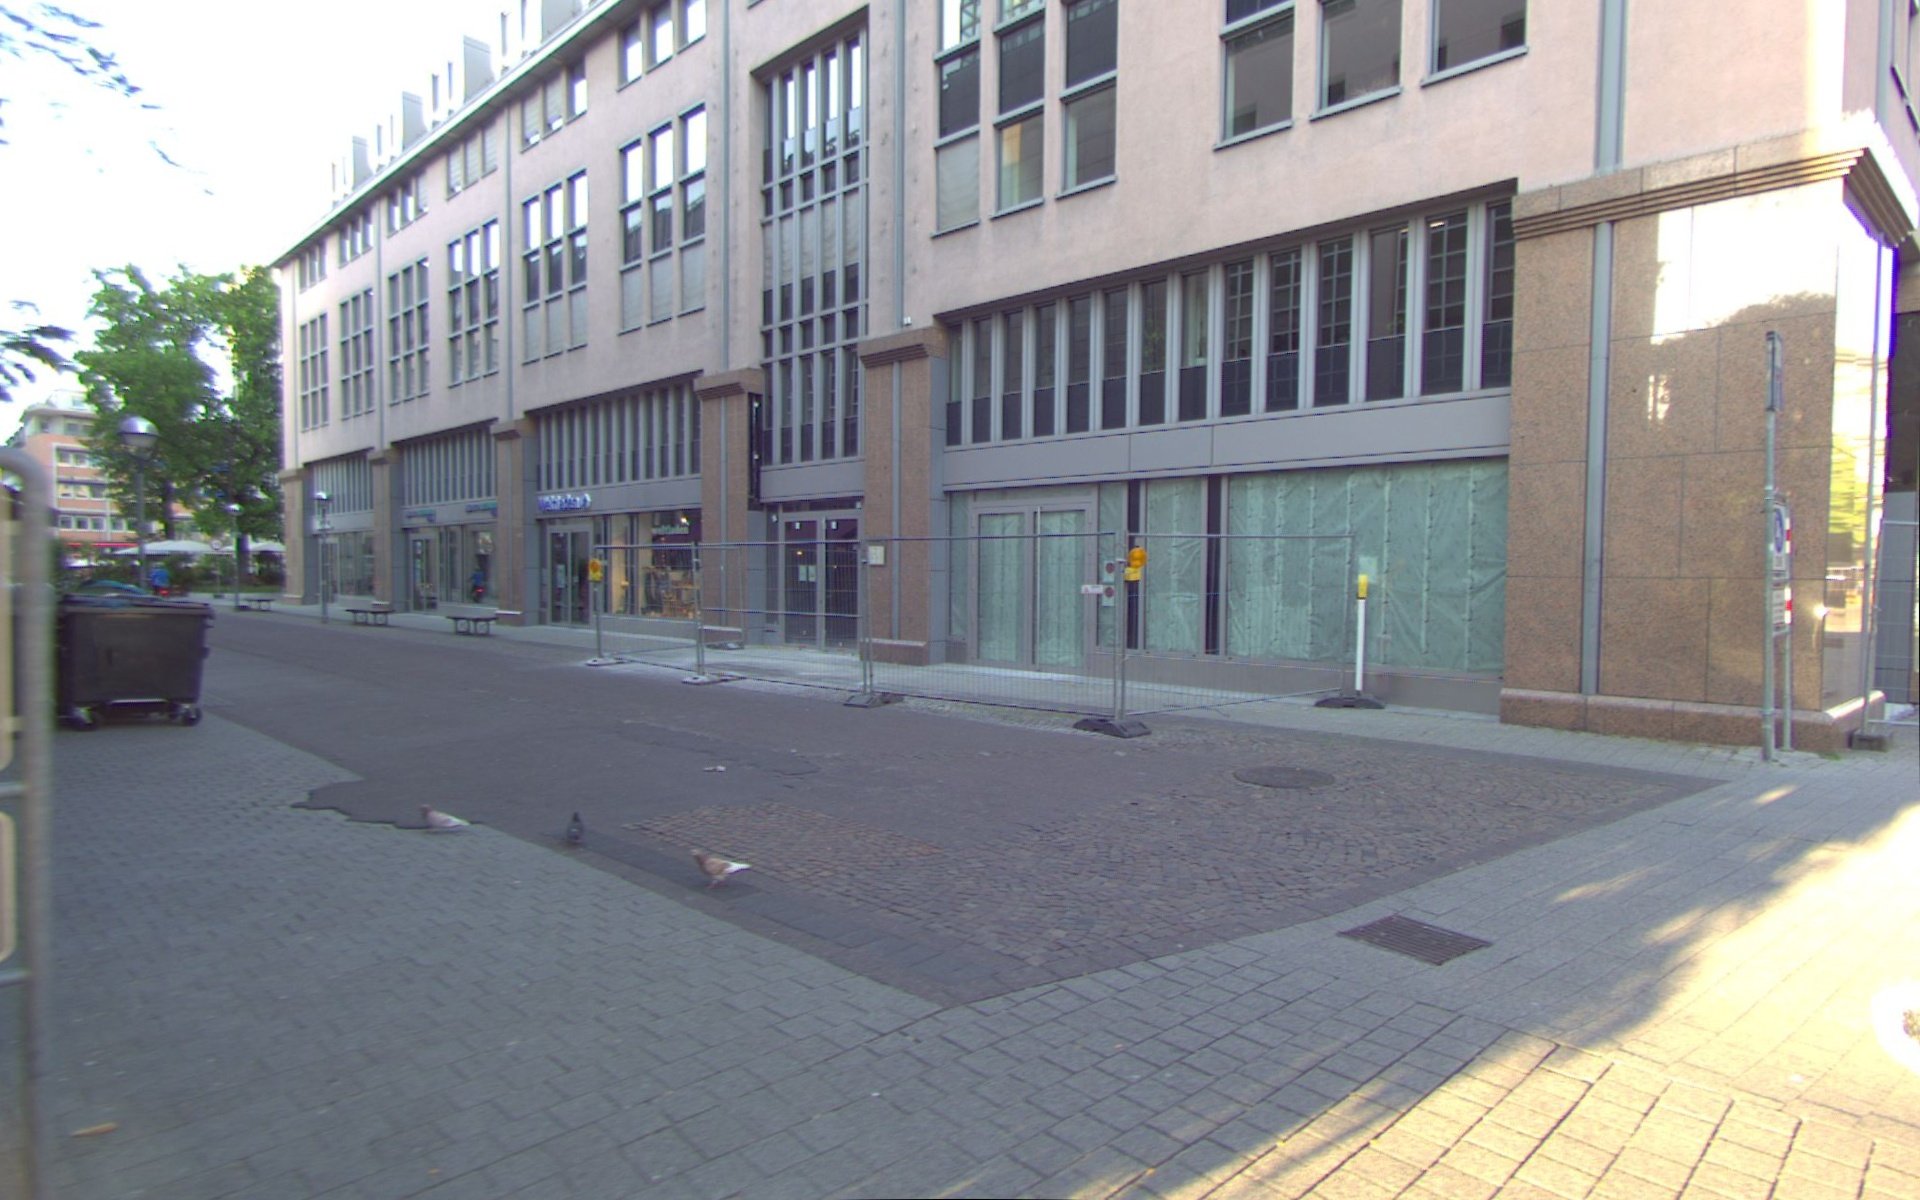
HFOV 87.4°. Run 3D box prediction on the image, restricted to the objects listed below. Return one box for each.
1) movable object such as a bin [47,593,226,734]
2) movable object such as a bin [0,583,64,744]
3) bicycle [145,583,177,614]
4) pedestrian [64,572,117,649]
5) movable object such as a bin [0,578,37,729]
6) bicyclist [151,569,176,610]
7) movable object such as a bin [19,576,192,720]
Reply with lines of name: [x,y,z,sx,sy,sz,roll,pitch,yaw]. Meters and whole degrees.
movable object such as a bin: [-8.649,0.634,10.559,1.151,1.347,1.227,2,-1,40]
movable object such as a bin: [-9.254,0.568,9.337,1.151,1.456,1.226,2,1,40]
bicycle: [-28.353,-0.066,35.650,1.920,1.065,0.541,2,2,41]
pedestrian: [-18.438,0.206,21.319,0.688,1.609,0.715,0,2,-28]
movable object such as a bin: [-10.205,0.519,10.102,1.151,1.507,1.226,2,1,40]
bicyclist: [-28.105,-0.383,35.450,0.623,1.427,0.586,2,2,40]
movable object such as a bin: [-9.590,0.515,11.287,1.151,1.486,1.271,2,-1,40]
